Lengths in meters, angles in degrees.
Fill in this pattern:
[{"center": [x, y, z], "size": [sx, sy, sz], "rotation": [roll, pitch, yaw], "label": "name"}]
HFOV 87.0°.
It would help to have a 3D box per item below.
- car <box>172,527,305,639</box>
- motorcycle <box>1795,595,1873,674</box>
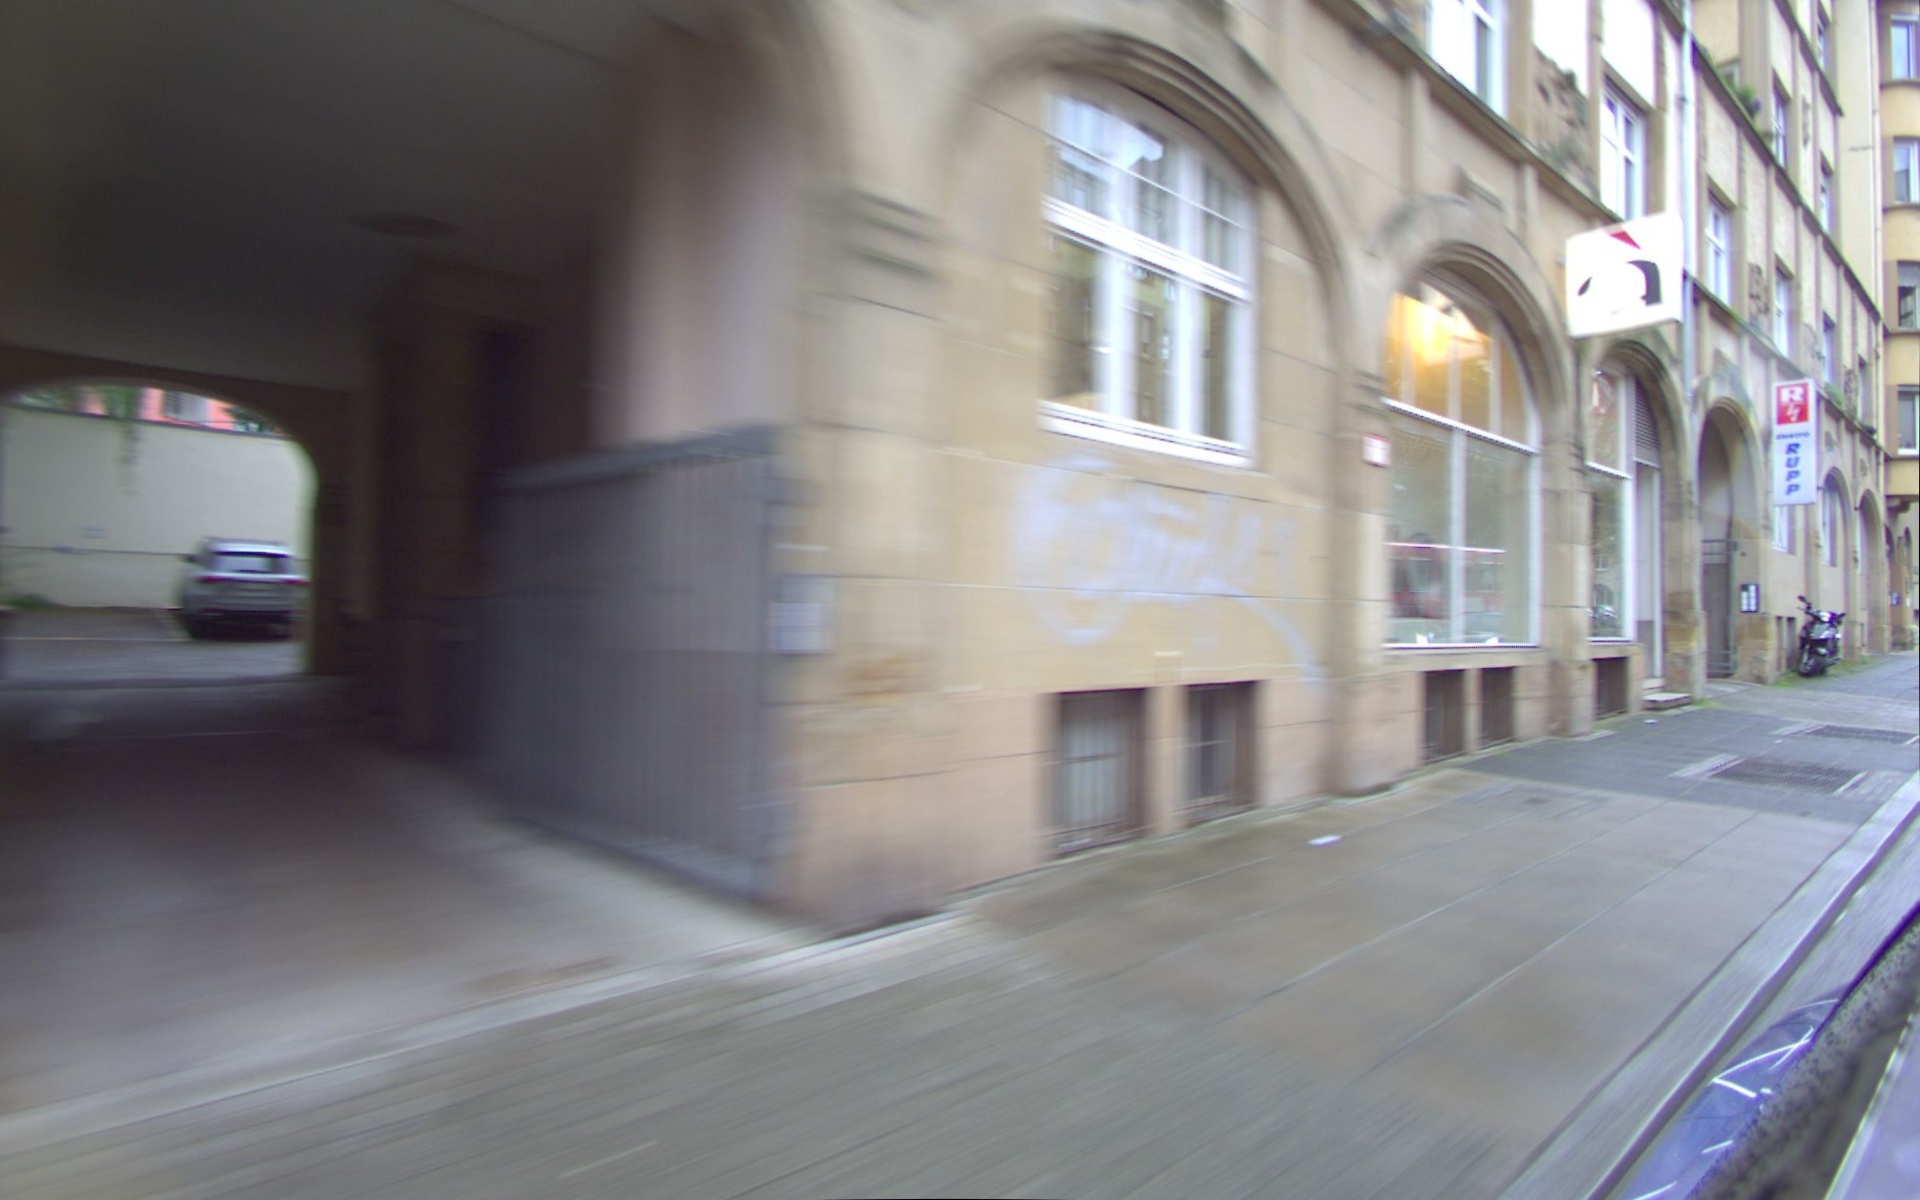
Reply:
[{"center": [-14.596, -0.400, 20.381], "size": [1.801, 1.815, 3.998], "rotation": [1, 5, -40], "label": "car"}, {"center": [15.202, 0.562, 17.587], "size": [1.748, 1.252, 0.692], "rotation": [0, 5, -41], "label": "motorcycle"}]
